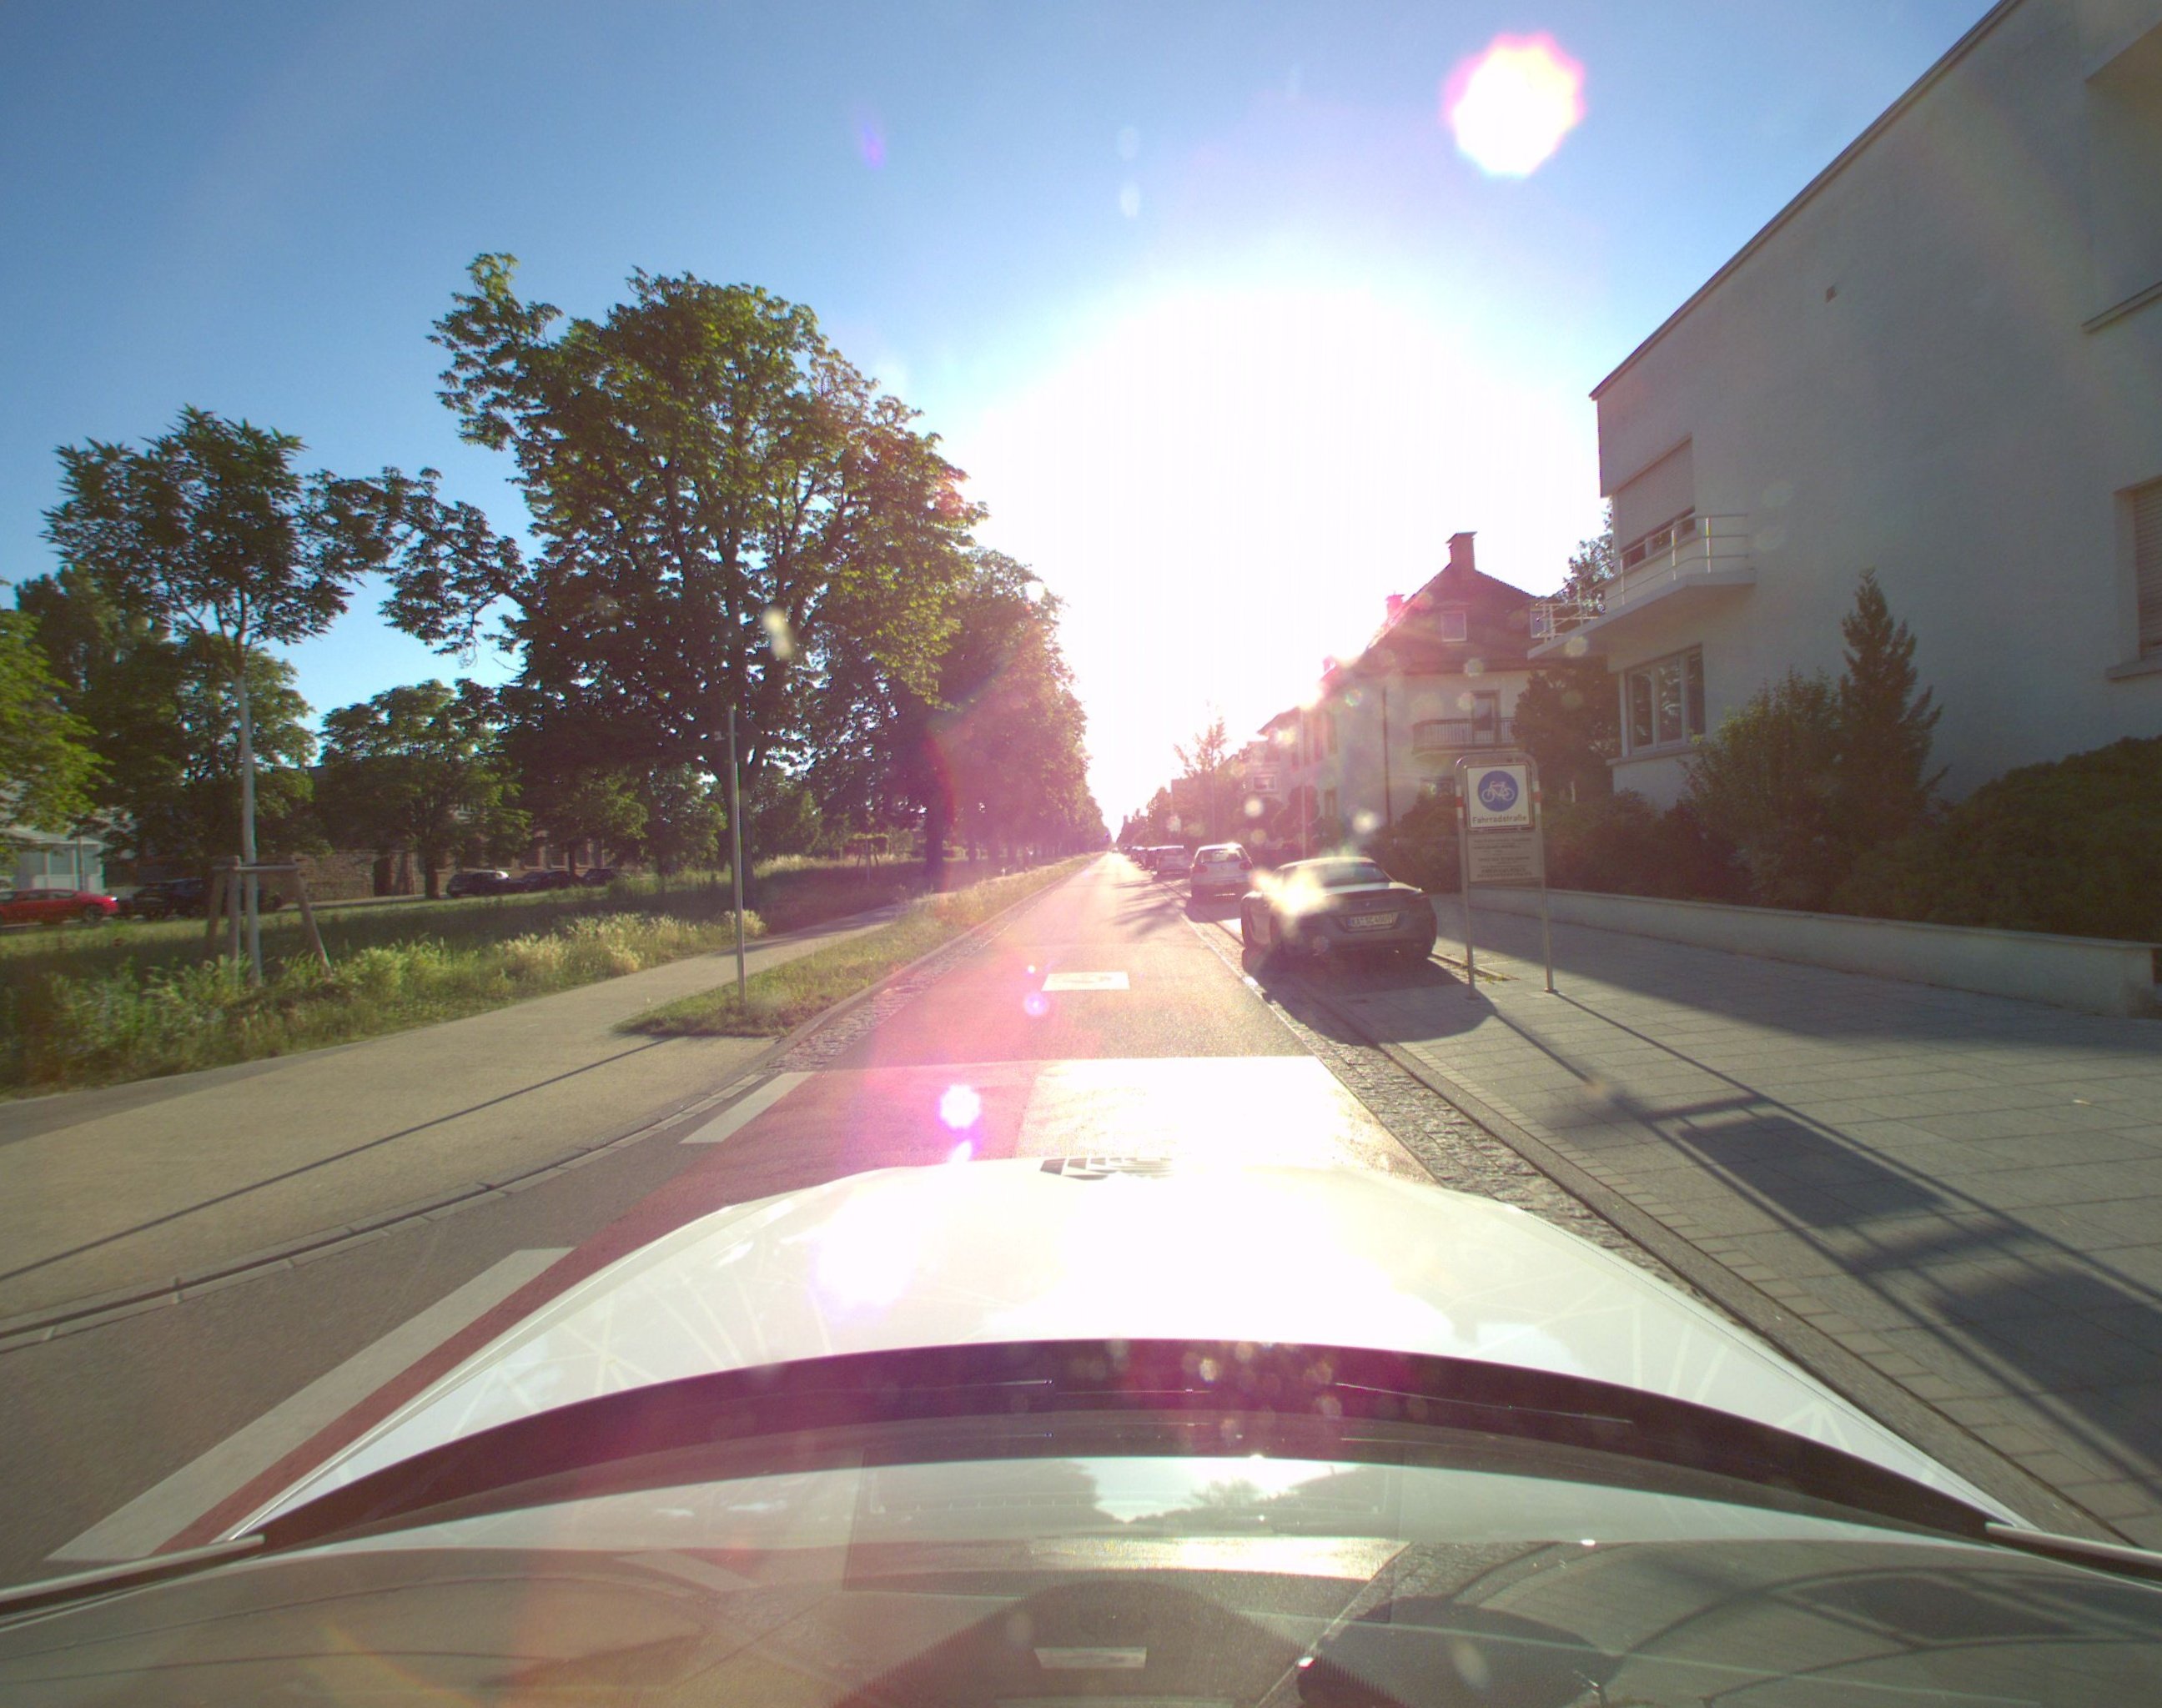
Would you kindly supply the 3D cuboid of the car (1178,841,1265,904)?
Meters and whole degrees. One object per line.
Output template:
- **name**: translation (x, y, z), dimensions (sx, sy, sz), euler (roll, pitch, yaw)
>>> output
- **car**: translation (3.830, 0.473, 22.804), dimensions (1.738, 1.474, 3.923), euler (-5, 0, 1)

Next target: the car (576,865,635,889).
- **car**: translation (-34.809, 1.637, 59.723), dimensions (1.686, 1.597, 4.223), euler (-2, 0, 2)

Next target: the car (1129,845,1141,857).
- **car**: translation (7.320, -0.417, 110.864), dimensions (1.492, 1.567, 3.269), euler (-2, 0, 3)

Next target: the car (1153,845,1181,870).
- **car**: translation (5.666, 0.228, 53.611), dimensions (1.649, 1.494, 3.722), euler (-3, 0, 6)

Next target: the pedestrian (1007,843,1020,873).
- **pedestrian**: translation (-4.164, 0.259, 50.310), dimensions (0.621, 1.831, 0.887), euler (-2, 0, 6)

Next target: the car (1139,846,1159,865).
- **car**: translation (5.711, 0.135, 68.792), dimensions (1.586, 1.510, 3.594), euler (-2, 0, 3)

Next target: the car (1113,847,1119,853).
- **car**: translation (10.423, -1.176, 241.268), dimensions (1.645, 1.541, 3.268), euler (-1, 0, 2)

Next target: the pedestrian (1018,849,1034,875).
- **pedestrian**: translation (-3.376, 0.481, 50.310), dimensions (0.779, 1.614, 0.953), euler (-2, 0, 6)

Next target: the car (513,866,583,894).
- **car**: translation (-34.843, 1.653, 53.345), dimensions (1.686, 1.597, 4.223), euler (-2, 0, 2)

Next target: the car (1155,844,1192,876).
- **car**: translation (4.781, 0.268, 42.638), dimensions (1.621, 1.504, 3.636), euler (-4, 0, 3)

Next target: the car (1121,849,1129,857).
- **car**: translation (9.388, -0.186, 172.822), dimensions (1.645, 1.541, 3.269), euler (-1, 0, 3)

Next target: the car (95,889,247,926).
- **car**: translation (-40.486, 2.338, 36.402), dimensions (1.563, 1.332, 4.483), euler (-1, 0, 4)

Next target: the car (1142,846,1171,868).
- **car**: translation (5.403, 0.239, 58.916), dimensions (1.730, 1.449, 4.198), euler (-4, -1, 1)

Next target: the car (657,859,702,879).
- **car**: translation (-34.343, 1.261, 69.769), dimensions (1.686, 1.597, 4.223), euler (-2, 0, 2)

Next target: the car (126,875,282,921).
- **car**: translation (-35.533, 1.743, 33.188), dimensions (1.686, 1.597, 4.223), euler (-2, 0, 2)

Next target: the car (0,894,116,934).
- **car**: translation (-40.741, 2.320, 31.383), dimensions (1.563, 1.332, 4.483), euler (-1, 0, 4)

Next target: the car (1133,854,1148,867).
- **car**: translation (6.702, 0.720, 91.750), dimensions (1.645, 1.396, 3.269), euler (-2, 0, 3)

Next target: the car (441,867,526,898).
- **car**: translation (-34.878, 1.606, 47.692), dimensions (1.686, 1.597, 4.223), euler (-2, 0, 2)

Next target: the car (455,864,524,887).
- **car**: translation (-40.388, 1.460, 55.691), dimensions (1.622, 1.405, 4.002), euler (-2, 0, 2)

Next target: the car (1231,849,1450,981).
- **car**: translation (3.300, 0.678, 11.269), dimensions (1.767, 1.288, 4.276), euler (-5, 1, 3)

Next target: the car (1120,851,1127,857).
- **car**: translation (11.351, -0.090, 216.922), dimensions (1.645, 1.541, 3.269), euler (-1, 0, 3)
